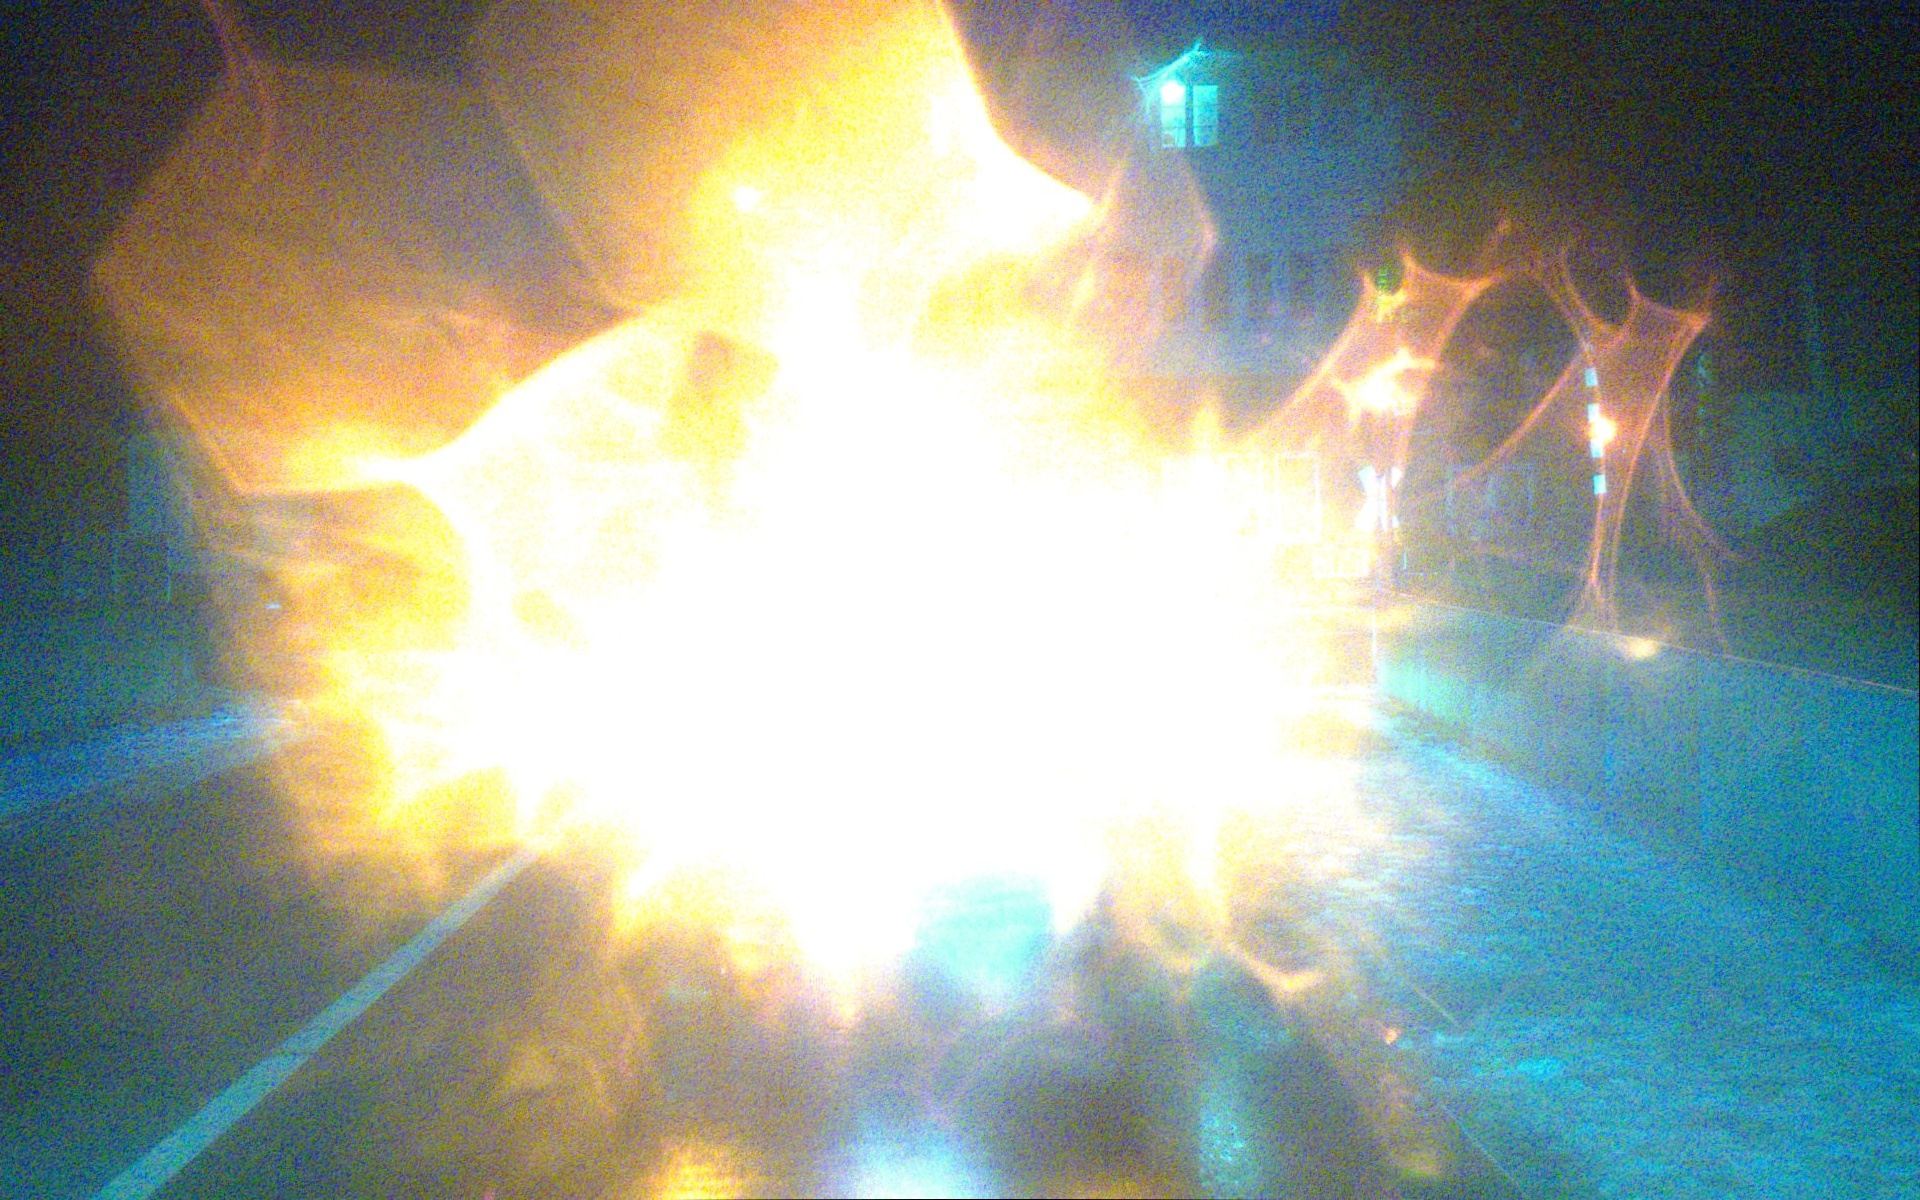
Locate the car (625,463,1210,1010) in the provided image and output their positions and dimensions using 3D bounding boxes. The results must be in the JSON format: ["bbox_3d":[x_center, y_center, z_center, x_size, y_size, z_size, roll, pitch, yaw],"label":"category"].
[{"bbox_3d":[-0.084,0.373,12.560,1.791,1.675,3.904,-1,1,1],"label":"car"}]

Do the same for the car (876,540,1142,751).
[{"bbox_3d":[0.435,0.275,25.272,1.744,1.410,4.000,-1,1,4],"label":"car"}]

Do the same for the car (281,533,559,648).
[{"bbox_3d":[-9.104,-0.159,58.116,4.201,1.793,1.999,2,0,8],"label":"car"}]
